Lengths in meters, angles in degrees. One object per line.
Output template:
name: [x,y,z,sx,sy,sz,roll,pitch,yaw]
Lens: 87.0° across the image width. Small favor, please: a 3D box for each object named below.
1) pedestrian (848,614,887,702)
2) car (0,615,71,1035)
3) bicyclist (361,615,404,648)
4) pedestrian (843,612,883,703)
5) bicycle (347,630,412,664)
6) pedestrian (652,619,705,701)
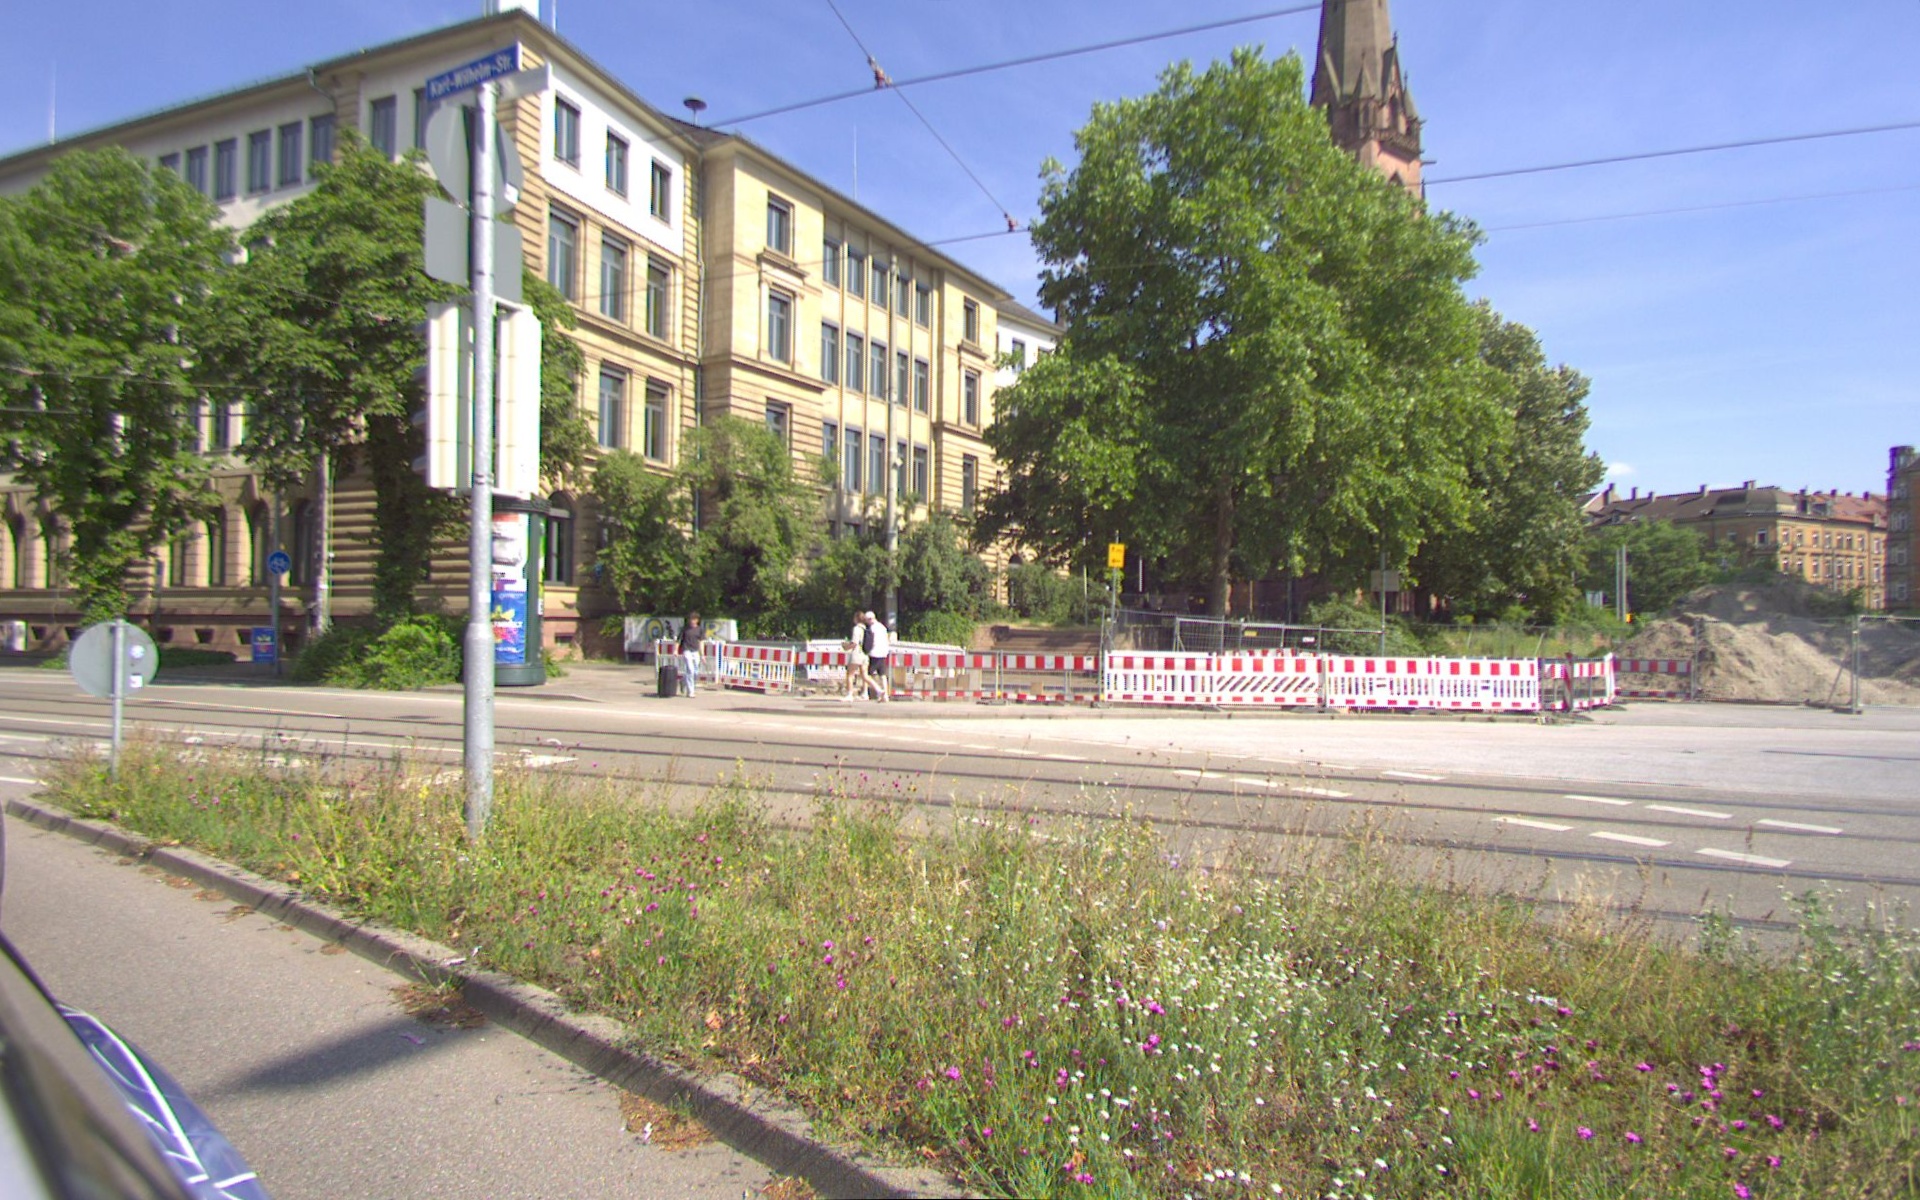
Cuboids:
pedestrian: [-1.884,1.173,20.619,0.734,1.763,0.585,0,-2,-1]
car: [-5.899,0.811,4.448,4.815,1.530,1.843,0,-2,35]
bicyclist: [-16.864,0.919,29.576,0.862,0.934,0.679,0,-2,18]
pedestrian: [-1.909,1.132,19.974,0.734,1.763,0.585,0,-2,-1]
bicycle: [-16.964,1.363,29.583,1.651,0.954,0.697,0,-2,17]
pedestrian: [-5.909,1.239,21.214,0.924,1.668,0.847,1,-2,-25]
